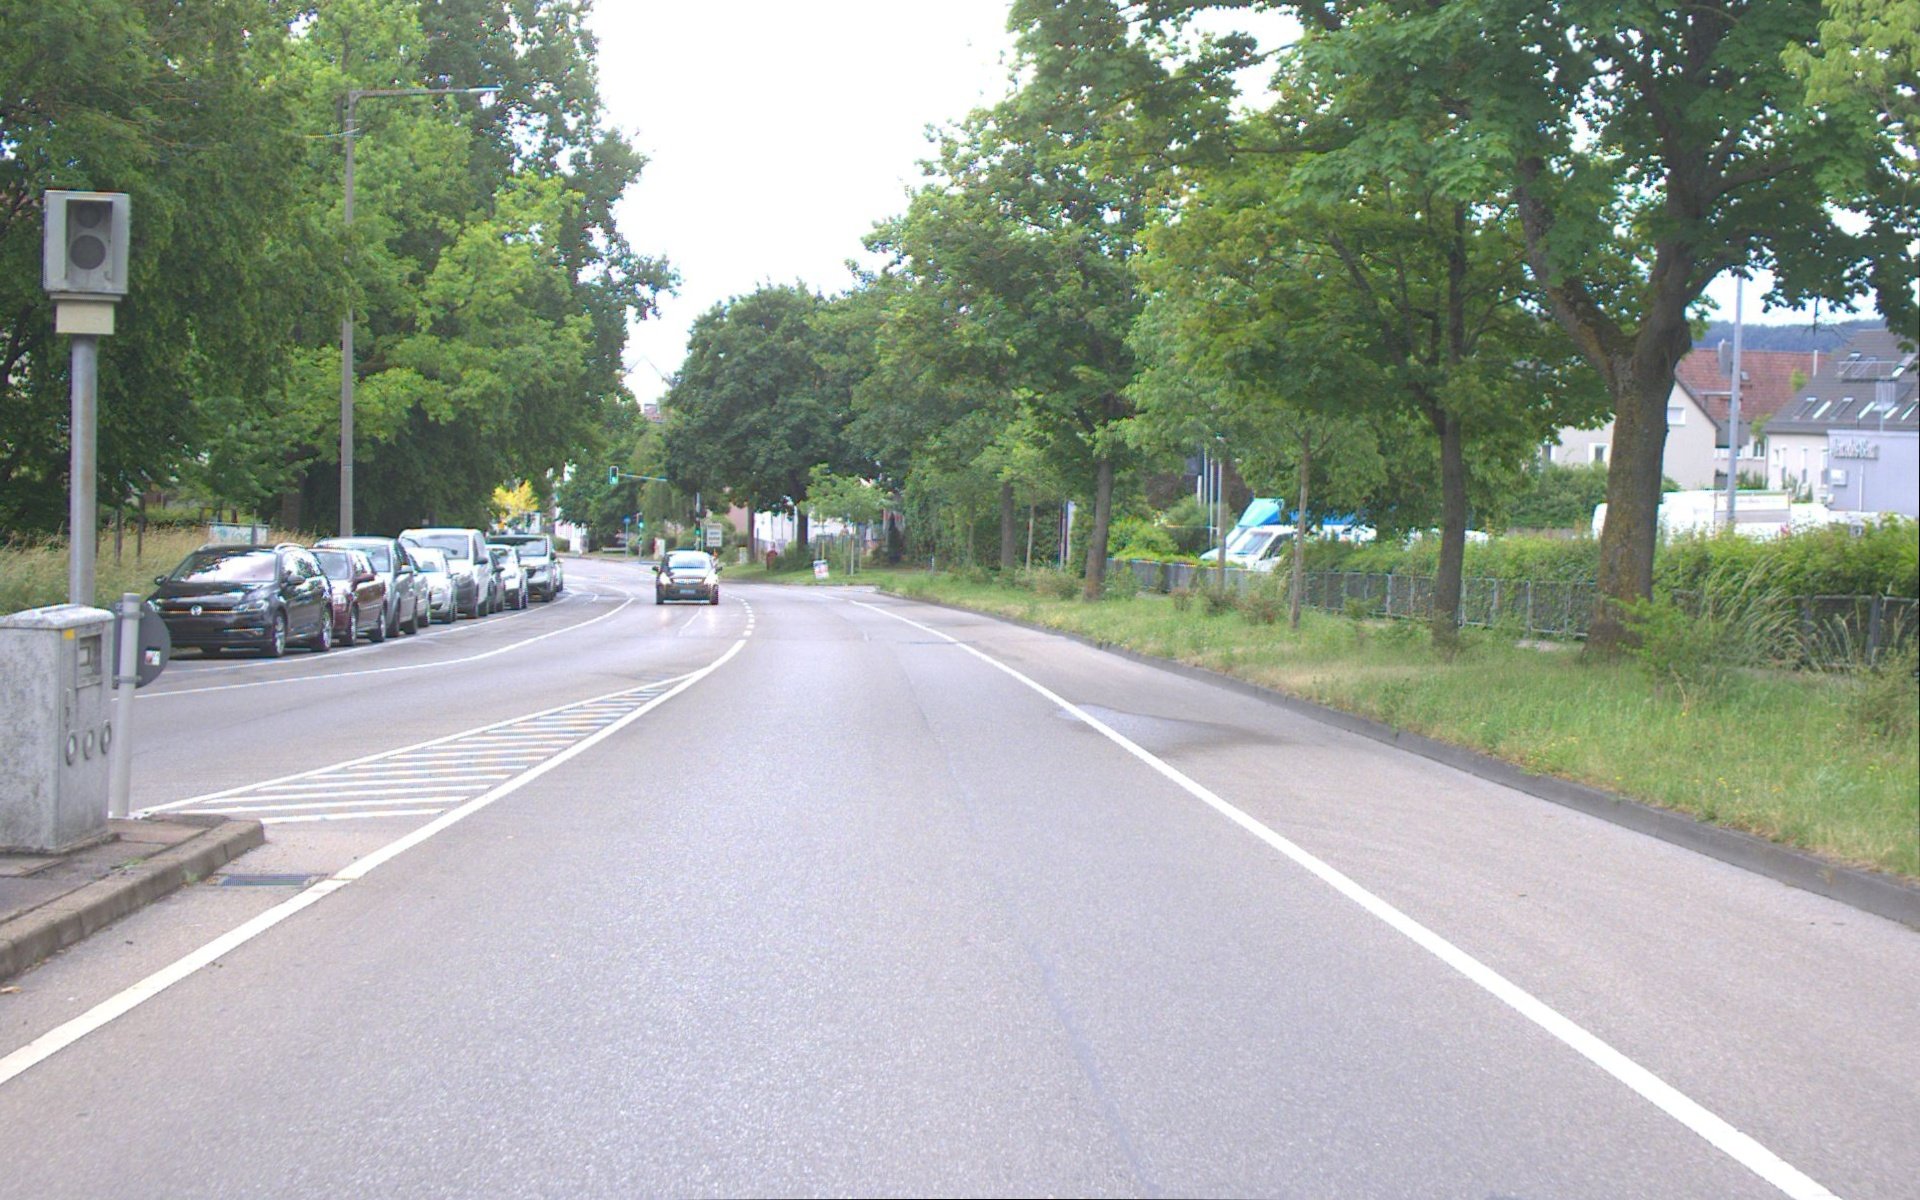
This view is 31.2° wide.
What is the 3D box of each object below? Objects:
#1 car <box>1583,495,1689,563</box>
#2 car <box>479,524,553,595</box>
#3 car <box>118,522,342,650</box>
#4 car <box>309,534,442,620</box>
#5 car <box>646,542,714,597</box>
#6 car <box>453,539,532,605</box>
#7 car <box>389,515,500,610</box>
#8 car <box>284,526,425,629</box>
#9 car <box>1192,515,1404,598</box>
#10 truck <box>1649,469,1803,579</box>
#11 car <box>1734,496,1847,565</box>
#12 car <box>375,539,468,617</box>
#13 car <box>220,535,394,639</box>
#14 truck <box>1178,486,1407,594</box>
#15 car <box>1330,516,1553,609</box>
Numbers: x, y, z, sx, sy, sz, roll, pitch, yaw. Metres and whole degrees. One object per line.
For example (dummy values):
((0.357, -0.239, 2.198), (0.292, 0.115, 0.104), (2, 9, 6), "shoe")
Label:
((28.135, -2.991, 142.886), (2.260, 2.667, 5.439), (2, 3, 36), "car")
((-12.787, -1.171, 99.241), (1.866, 1.957, 5.128), (1, 1, -5), "car")
((-9.504, -0.206, 45.112), (1.875, 1.565, 4.651), (1, 1, 1), "car")
((-10.660, -0.455, 62.936), (1.768, 1.490, 4.357), (-1, 1, -1), "car")
((-7.665, -0.837, 94.297), (1.637, 1.462, 4.000), (0, 1, -2), "car")
((-11.477, -0.699, 84.642), (1.673, 1.559, 4.282), (0, 1, -4), "car")
((-10.985, -0.830, 73.500), (1.768, 1.924, 5.156), (2, 1, -3), "car")
((-9.790, -0.394, 55.814), (1.768, 1.586, 4.135), (1, 1, -3), "car")
((10.289, -1.316, 104.617), (6.009, 2.359, 2.363), (1, 1, -27), "car")
((25.572, -2.482, 115.227), (2.853, 3.447, 9.542), (2, 1, -1), "truck")
((34.146, -2.881, 141.249), (2.261, 2.667, 5.437), (2, 4, 41), "car")
((-10.577, -0.458, 67.696), (1.634, 1.428, 3.951), (1, 1, -7), "car")
((-9.539, -0.224, 50.500), (1.768, 1.442, 4.150), (1, 1, 0), "car")
((10.904, -1.956, 112.611), (7.162, 3.465, 2.619), (0, 1, -28), "truck")
((12.022, -0.932, 85.818), (5.244, 2.180, 2.072), (1, 1, -28), "car")
